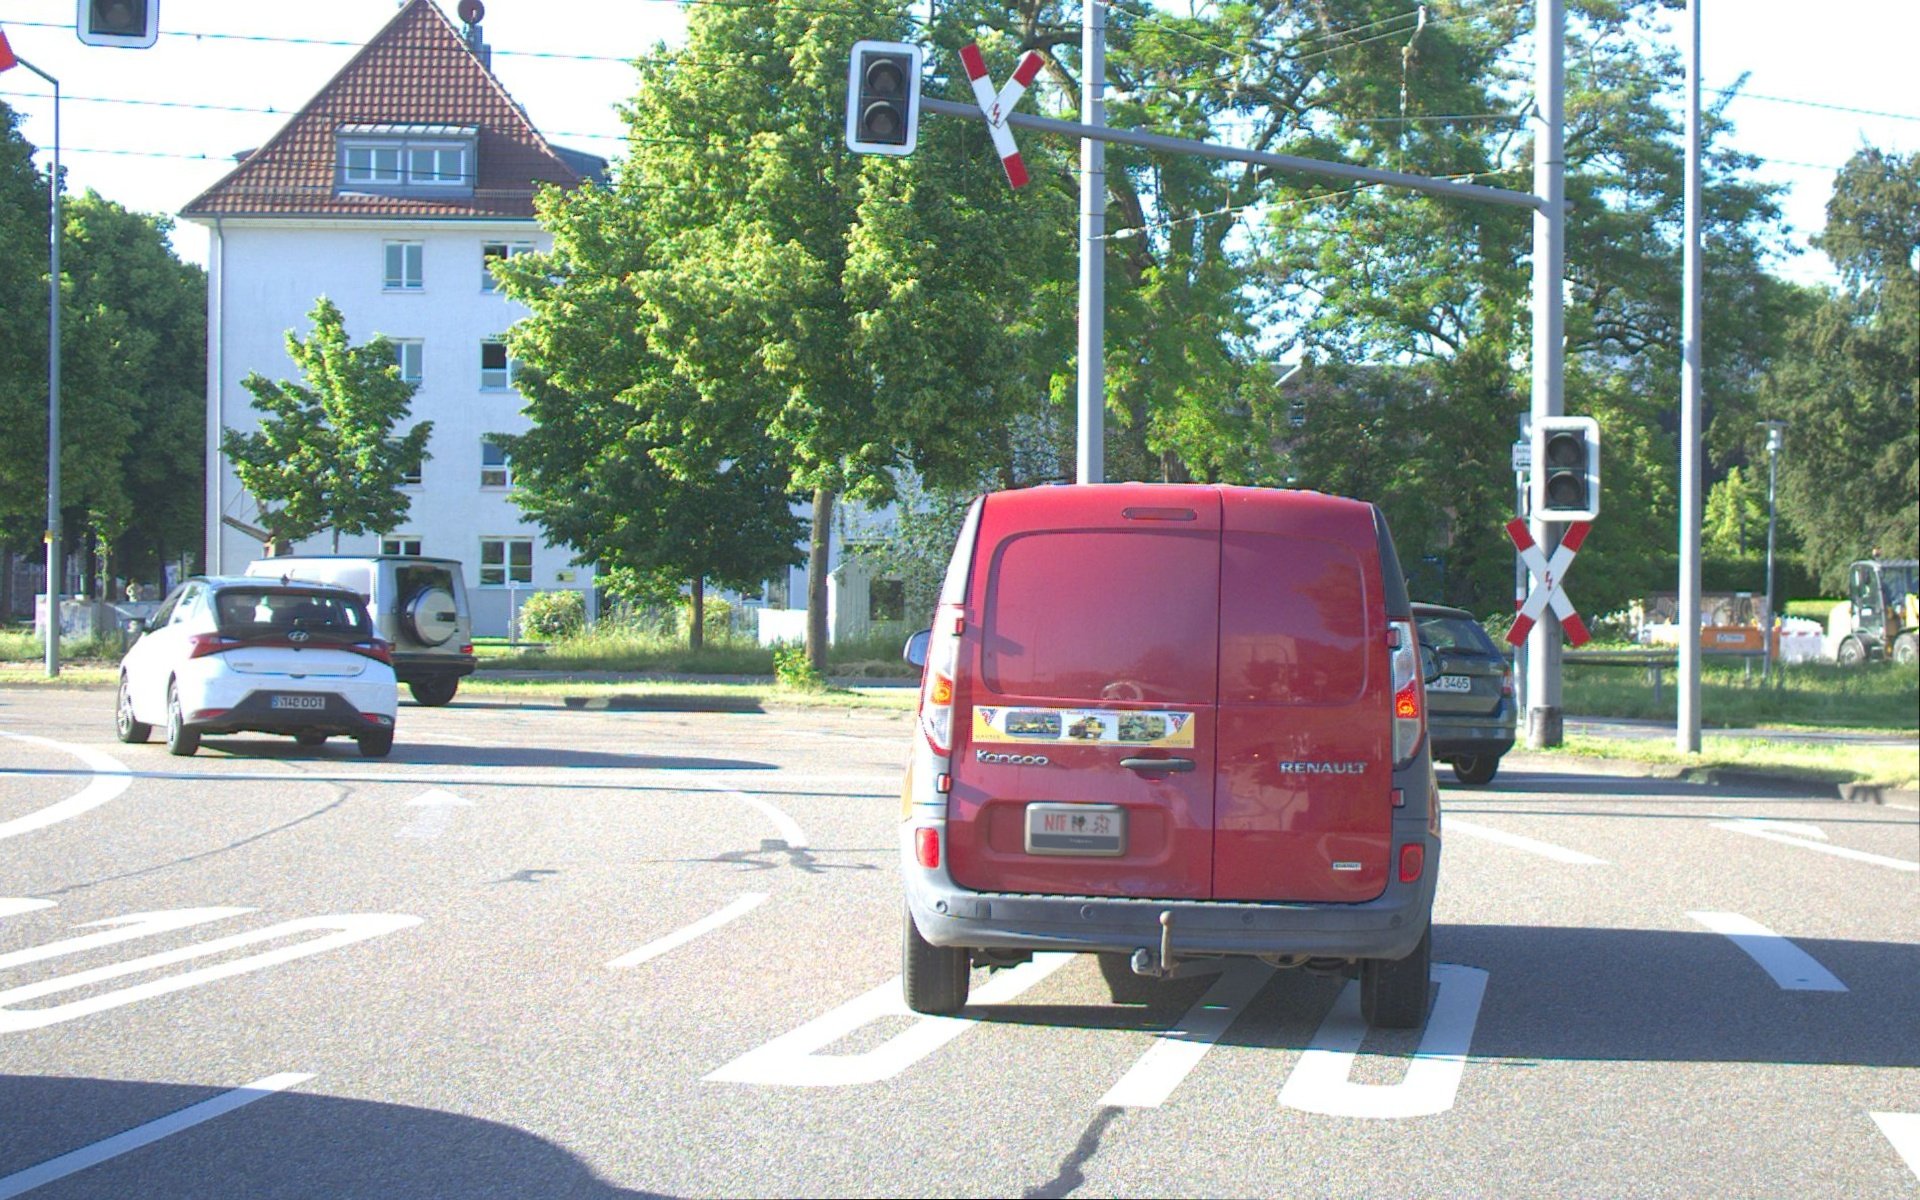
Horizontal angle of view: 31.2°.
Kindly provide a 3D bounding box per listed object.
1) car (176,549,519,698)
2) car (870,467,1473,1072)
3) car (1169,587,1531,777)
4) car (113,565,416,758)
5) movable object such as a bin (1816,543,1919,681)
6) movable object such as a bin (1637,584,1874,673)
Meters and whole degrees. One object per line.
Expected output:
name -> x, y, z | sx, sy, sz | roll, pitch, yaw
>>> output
car -> -8.210, 0.317, 45.851 | 4.749, 1.891, 1.998 | 0, -1, 42
car -> 0.753, 0.489, 12.573 | 1.803, 1.807, 3.809 | 2, 1, 3
car -> 3.094, 0.649, 28.109 | 1.713, 1.431, 4.153 | 0, -1, -12
car -> -5.852, 0.496, 28.604 | 1.802, 1.456, 3.810 | 2, -1, -21
movable object such as a bin -> 20.156, 0.280, 72.102 | 1.993, 2.779, 5.049 | 2, -2, -15
movable object such as a bin -> 18.909, 0.692, 81.789 | 5.004, 1.942, 2.240 | 2, -2, -12
